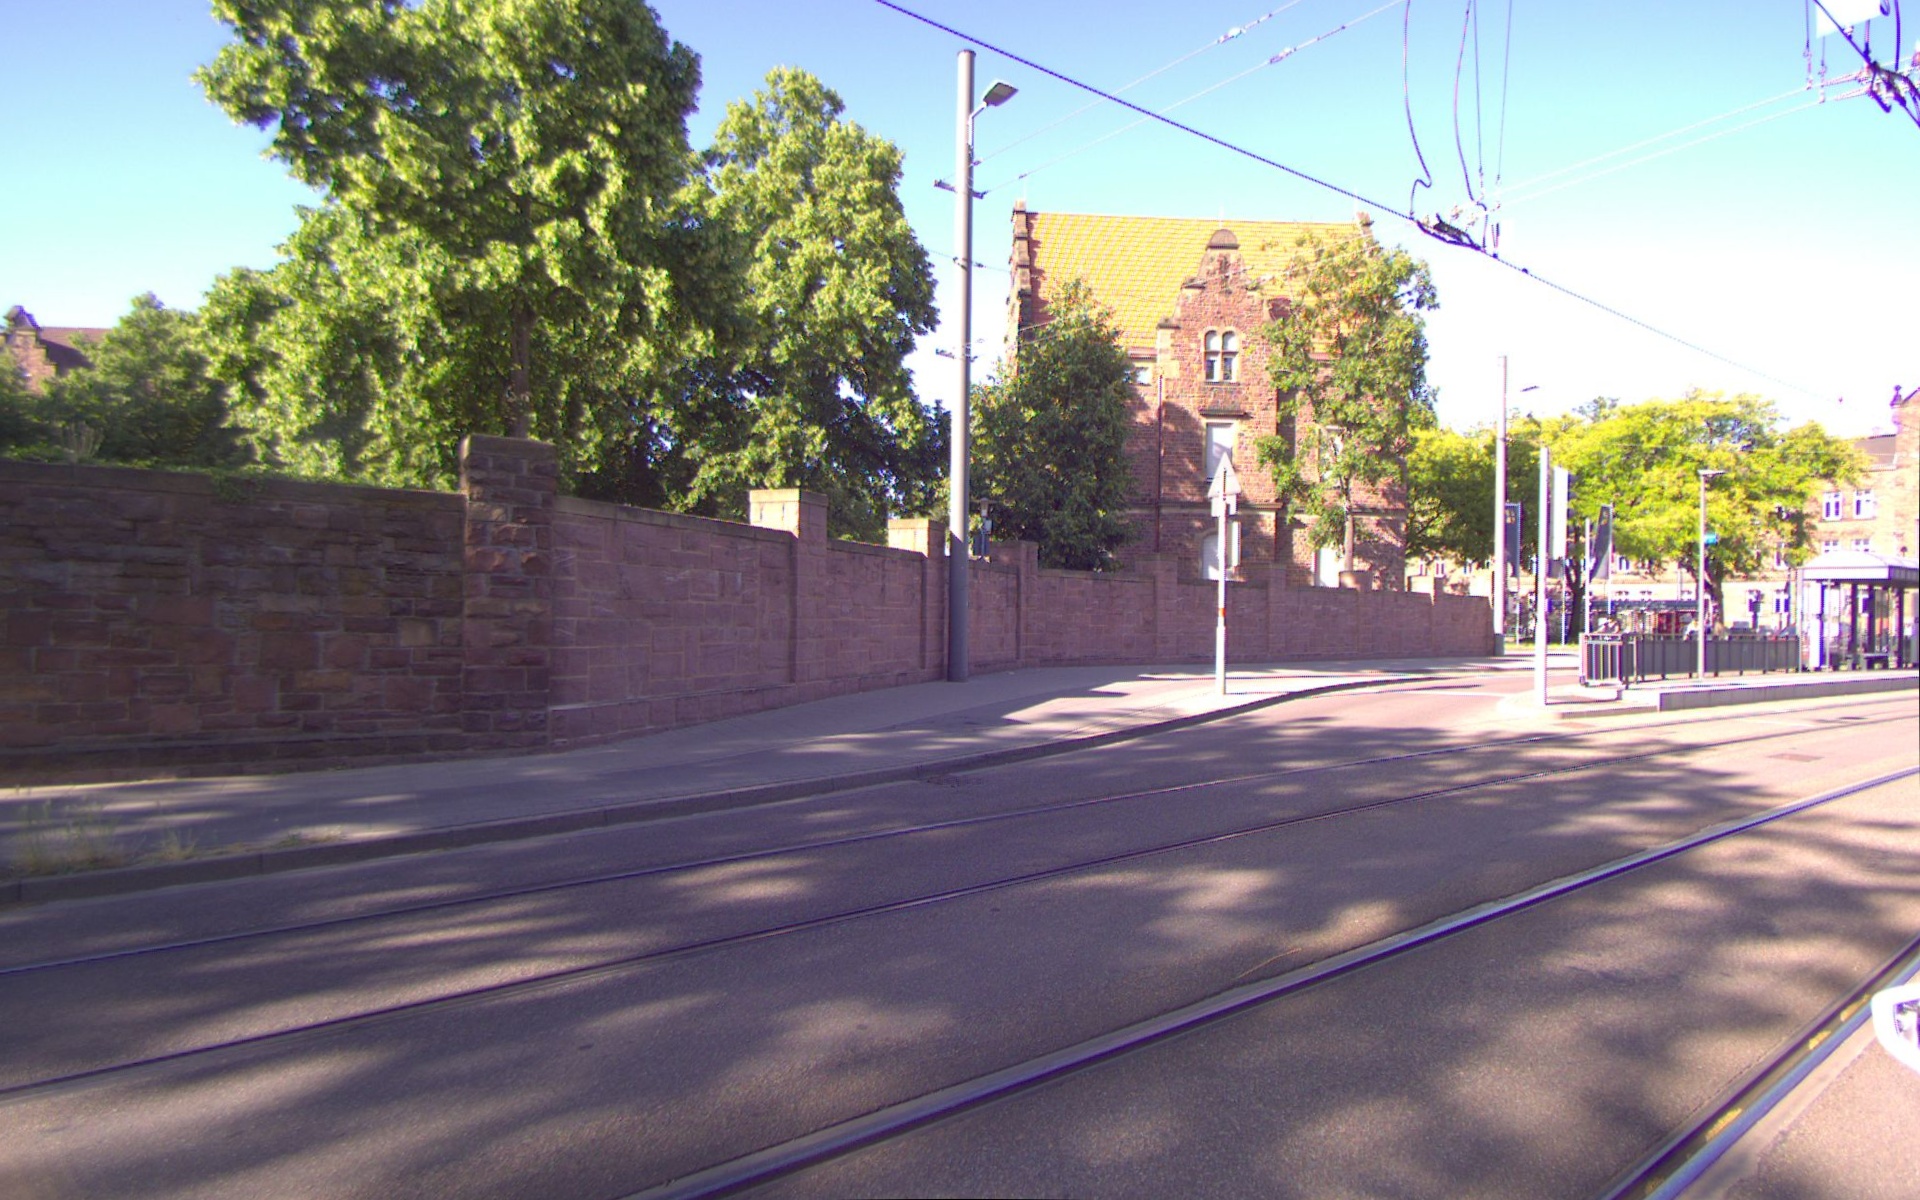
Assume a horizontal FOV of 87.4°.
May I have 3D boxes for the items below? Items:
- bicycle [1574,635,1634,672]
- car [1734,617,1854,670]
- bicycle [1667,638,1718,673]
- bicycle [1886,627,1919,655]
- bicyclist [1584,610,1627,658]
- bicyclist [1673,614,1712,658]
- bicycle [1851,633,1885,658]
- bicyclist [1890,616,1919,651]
[{"bbox_3d":[20.074,1.661,31.302,2.038,1.103,0.682,1,0,-28],"label":"bicycle"},{"bbox_3d":[27.902,1.423,33.592,4.310,1.628,1.808,1,-1,-32],"label":"car"},{"bbox_3d":[25.208,1.909,34.566,1.833,1.102,0.682,5,-5,-29],"label":"bicycle"},{"bbox_3d":[42.869,1.864,45.592,2.067,1.247,0.772,1,-1,-34],"label":"bicycle"},{"bbox_3d":[20.117,1.060,31.319,1.137,1.478,0.650,1,0,-27],"label":"bicyclist"},{"bbox_3d":[25.216,1.240,34.566,1.138,1.478,0.650,1,0,-29],"label":"bicyclist"},{"bbox_3d":[41.959,2.103,46.426,1.993,1.087,0.665,1,1,-33],"label":"bicycle"},{"bbox_3d":[42.843,1.529,45.512,1.334,1.556,0.756,1,-1,-33],"label":"bicyclist"}]
